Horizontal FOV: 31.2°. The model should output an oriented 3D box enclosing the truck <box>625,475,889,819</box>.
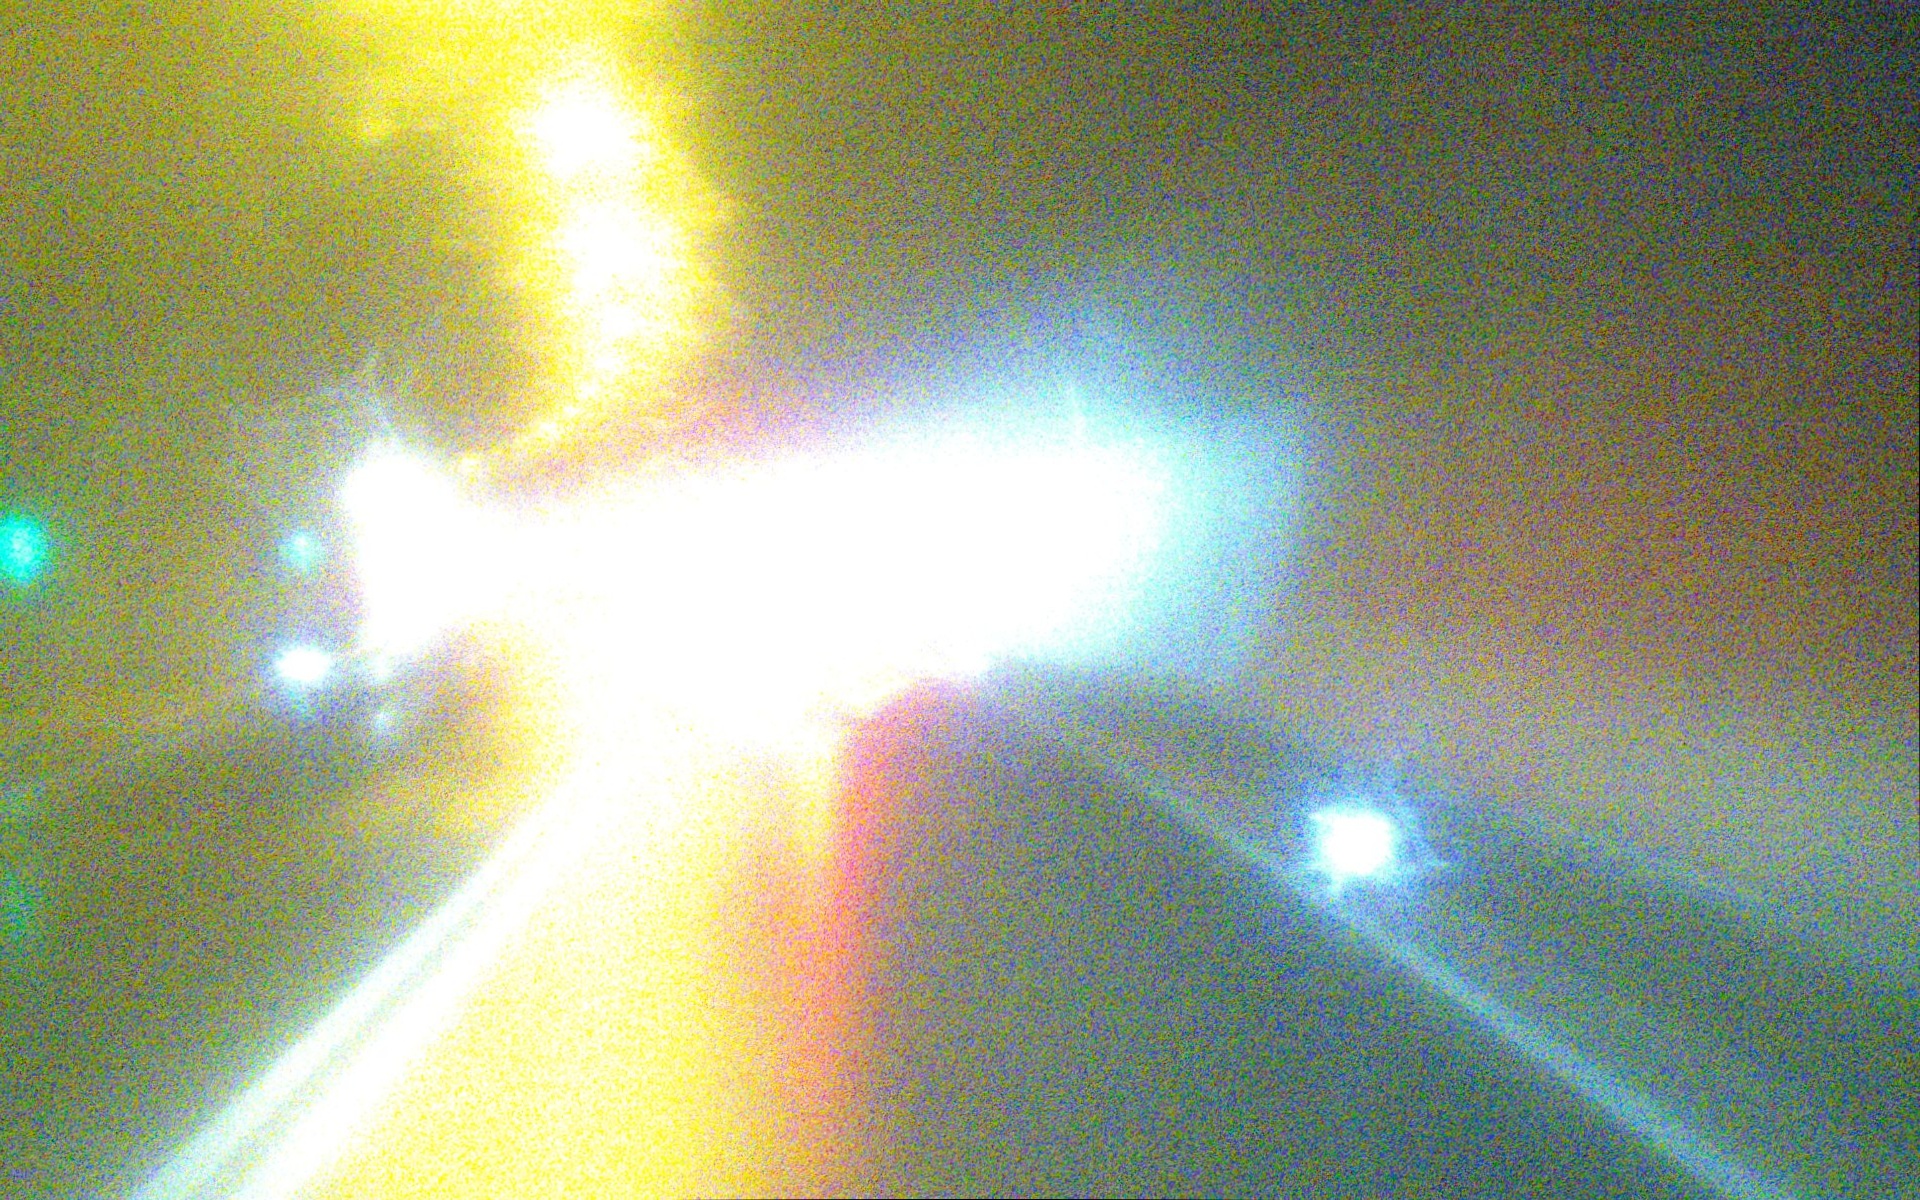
[{"bbox_3d":[-1.989,0.372,34.455,2.262,3.000,7.416,2,1,-3],"label":"truck"}]
